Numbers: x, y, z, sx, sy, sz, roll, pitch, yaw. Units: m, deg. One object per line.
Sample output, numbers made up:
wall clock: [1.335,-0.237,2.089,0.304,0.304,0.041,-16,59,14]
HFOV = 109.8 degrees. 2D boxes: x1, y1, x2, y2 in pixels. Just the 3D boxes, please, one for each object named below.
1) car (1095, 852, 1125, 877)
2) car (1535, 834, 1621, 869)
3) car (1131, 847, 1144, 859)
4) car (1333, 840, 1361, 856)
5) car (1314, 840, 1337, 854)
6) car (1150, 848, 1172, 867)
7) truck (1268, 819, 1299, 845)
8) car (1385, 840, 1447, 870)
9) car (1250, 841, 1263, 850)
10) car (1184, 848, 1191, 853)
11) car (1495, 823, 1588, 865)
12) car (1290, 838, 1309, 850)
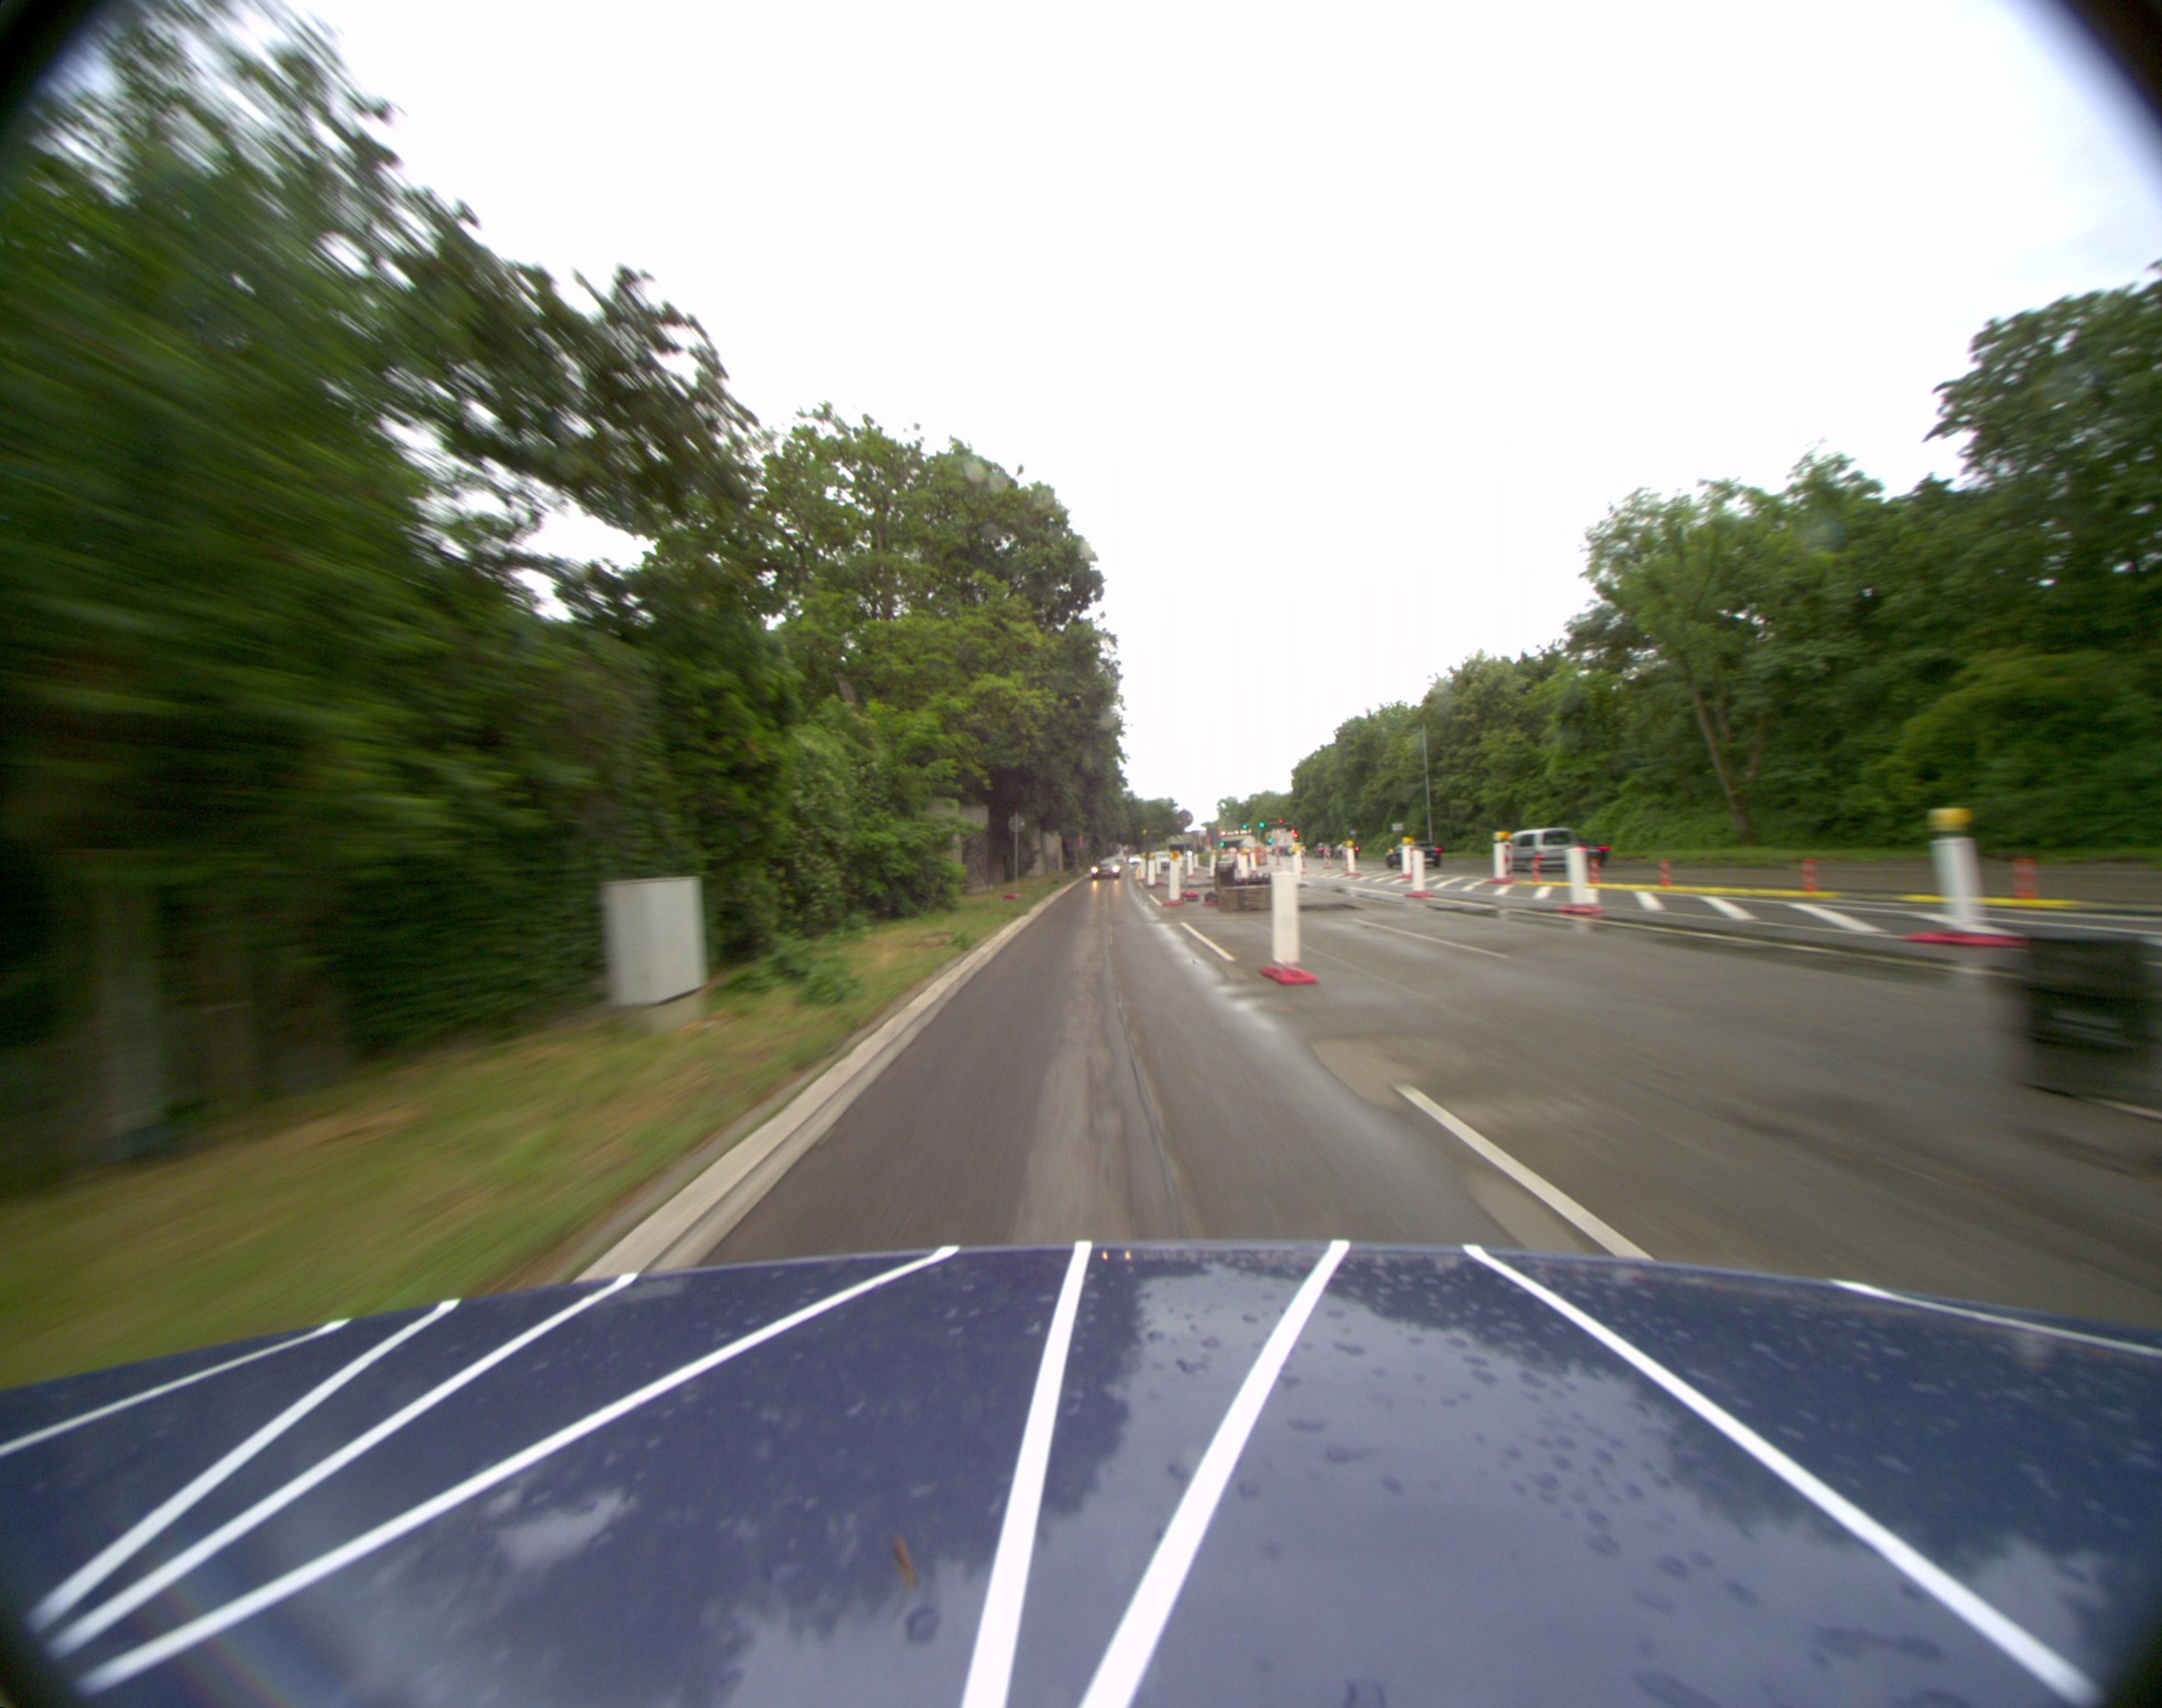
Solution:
car: [1.954,0.691,50.718,1.701,1.477,4.001,-2,1,6]
car: [22.390,-0.111,34.378,1.624,1.475,3.608,-2,0,2]
car: [8.809,-0.151,117.599,1.706,1.681,4.474,-2,1,8]
car: [26.182,-0.623,74.893,1.678,1.487,3.771,-2,0,6]
car: [27.100,-0.768,84.205,1.678,1.487,3.771,-2,0,7]
car: [7.250,0.275,68.531,1.793,1.575,3.862,-4,0,7]
truck: [31.526,-3.392,118.638,3.149,3.809,9.649,-2,1,7]
car: [18.146,0.034,41.300,1.743,1.487,3.769,-2,0,1]
car: [31.100,-1.460,134.857,1.865,1.487,4.179,-2,0,7]
car: [32.969,-1.024,235.445,1.907,1.487,3.771,-2,0,7]
car: [19.023,-0.395,31.598,1.678,1.604,3.770,-2,0,2]
car: [29.941,-1.324,104.084,1.907,1.487,3.771,-2,0,8]
